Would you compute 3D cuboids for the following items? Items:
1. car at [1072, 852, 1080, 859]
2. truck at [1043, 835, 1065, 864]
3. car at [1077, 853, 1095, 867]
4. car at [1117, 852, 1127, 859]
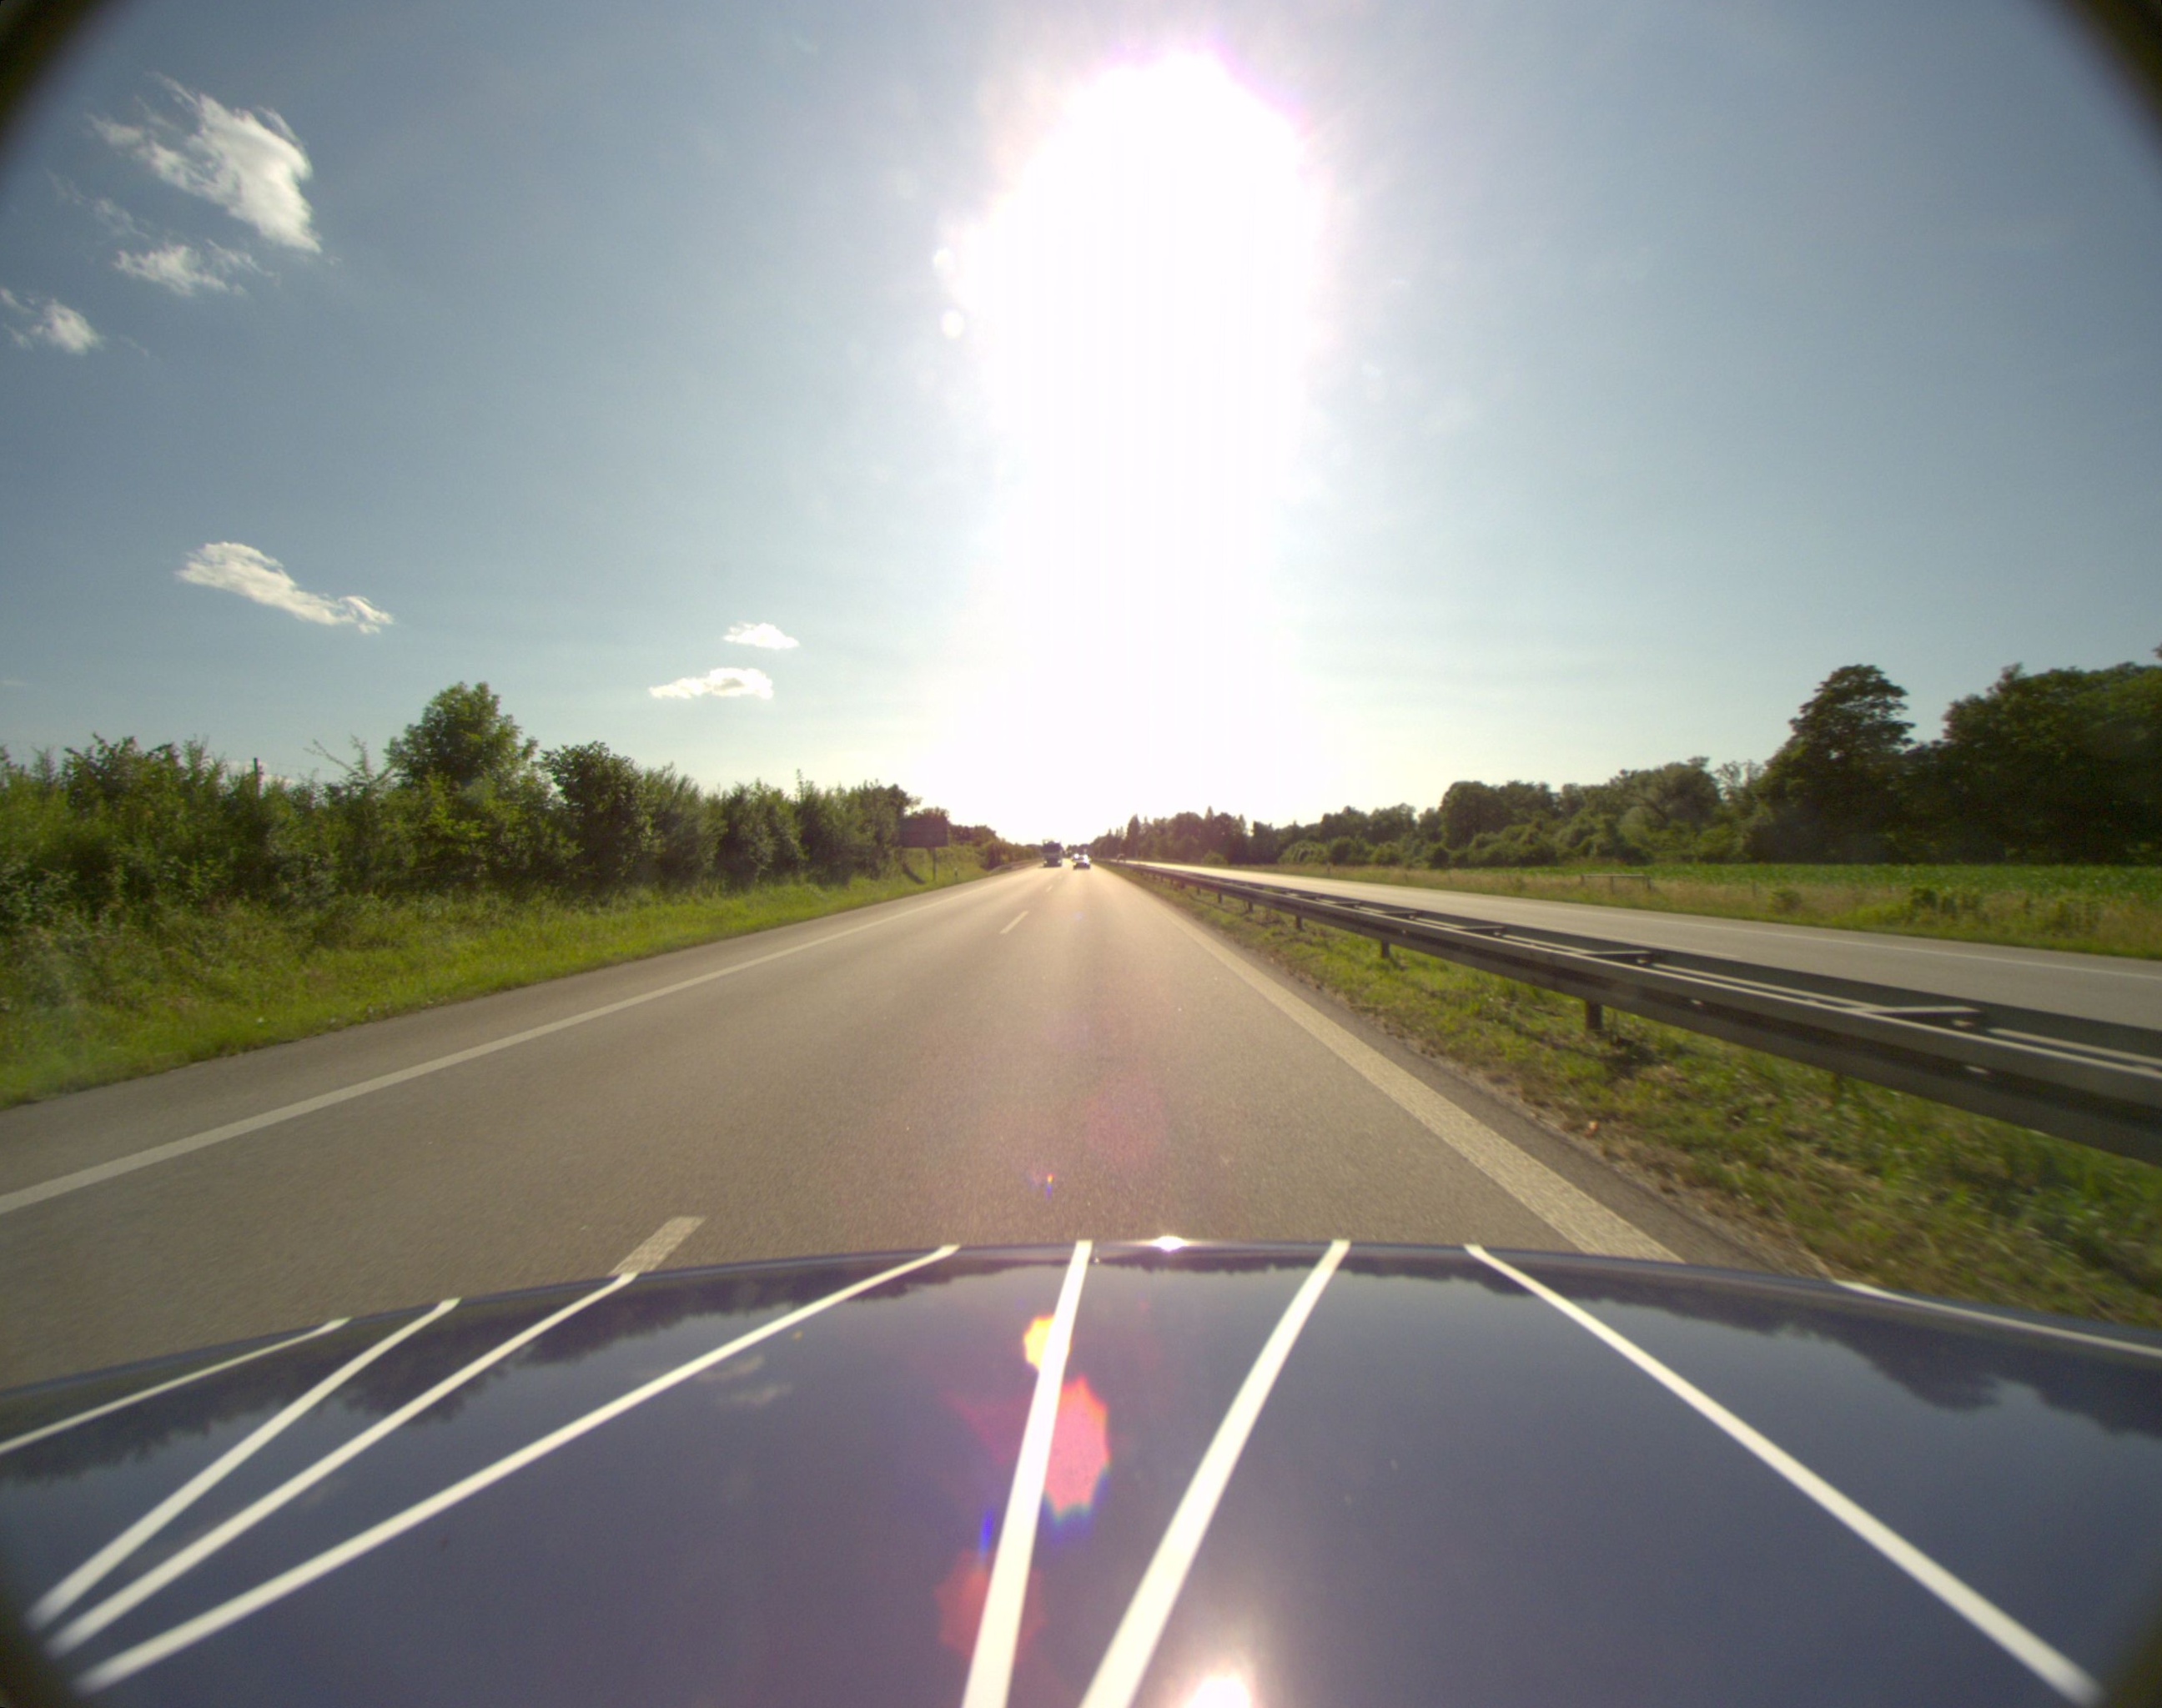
[{"bbox_3d":[-1.224,0.327,180.784,1.742,1.514,3.999,-1,1,-2],"label":"car"},{"bbox_3d":[-3.866,-0.576,107.581,2.848,3.943,7.041,0,0,-3],"label":"truck"},{"bbox_3d":[0.511,0.621,81.416,1.871,1.514,4.283,1,0,-1],"label":"car"},{"bbox_3d":[9.553,0.318,175.550,1.999,1.652,4.775,1,0,0],"label":"car"}]
